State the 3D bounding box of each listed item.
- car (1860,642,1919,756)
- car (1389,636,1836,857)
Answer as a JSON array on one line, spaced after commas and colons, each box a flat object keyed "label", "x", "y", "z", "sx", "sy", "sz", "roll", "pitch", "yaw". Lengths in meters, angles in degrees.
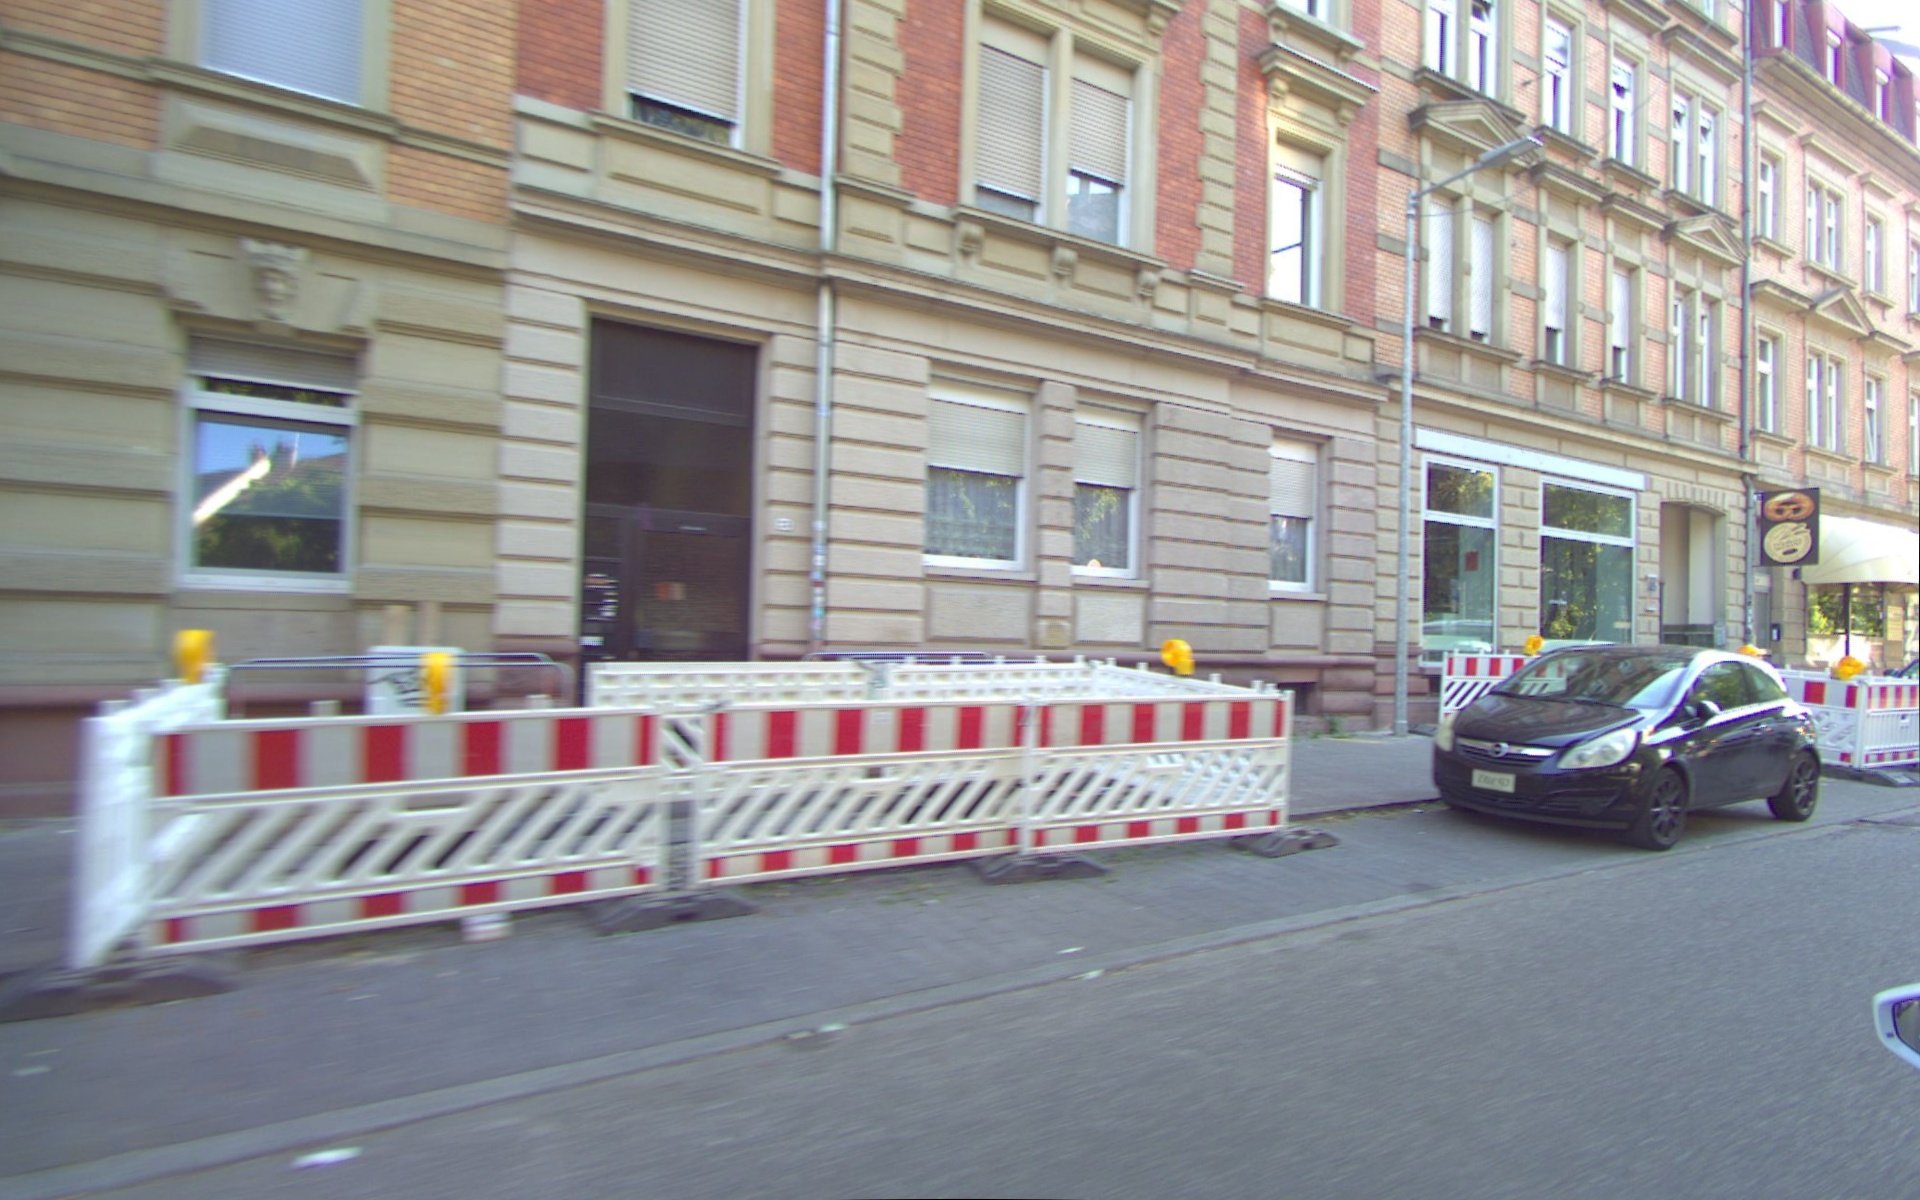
[{"label": "car", "x": 14.275, "y": 1.337, "z": 13.804, "sx": 4.253, "sy": 1.456, "sz": 1.755, "roll": 2, "pitch": -2, "yaw": -32}, {"label": "car", "x": 5.667, "y": 1.083, "z": 8.610, "sx": 3.975, "sy": 1.473, "sz": 1.695, "roll": 2, "pitch": -2, "yaw": -32}]
